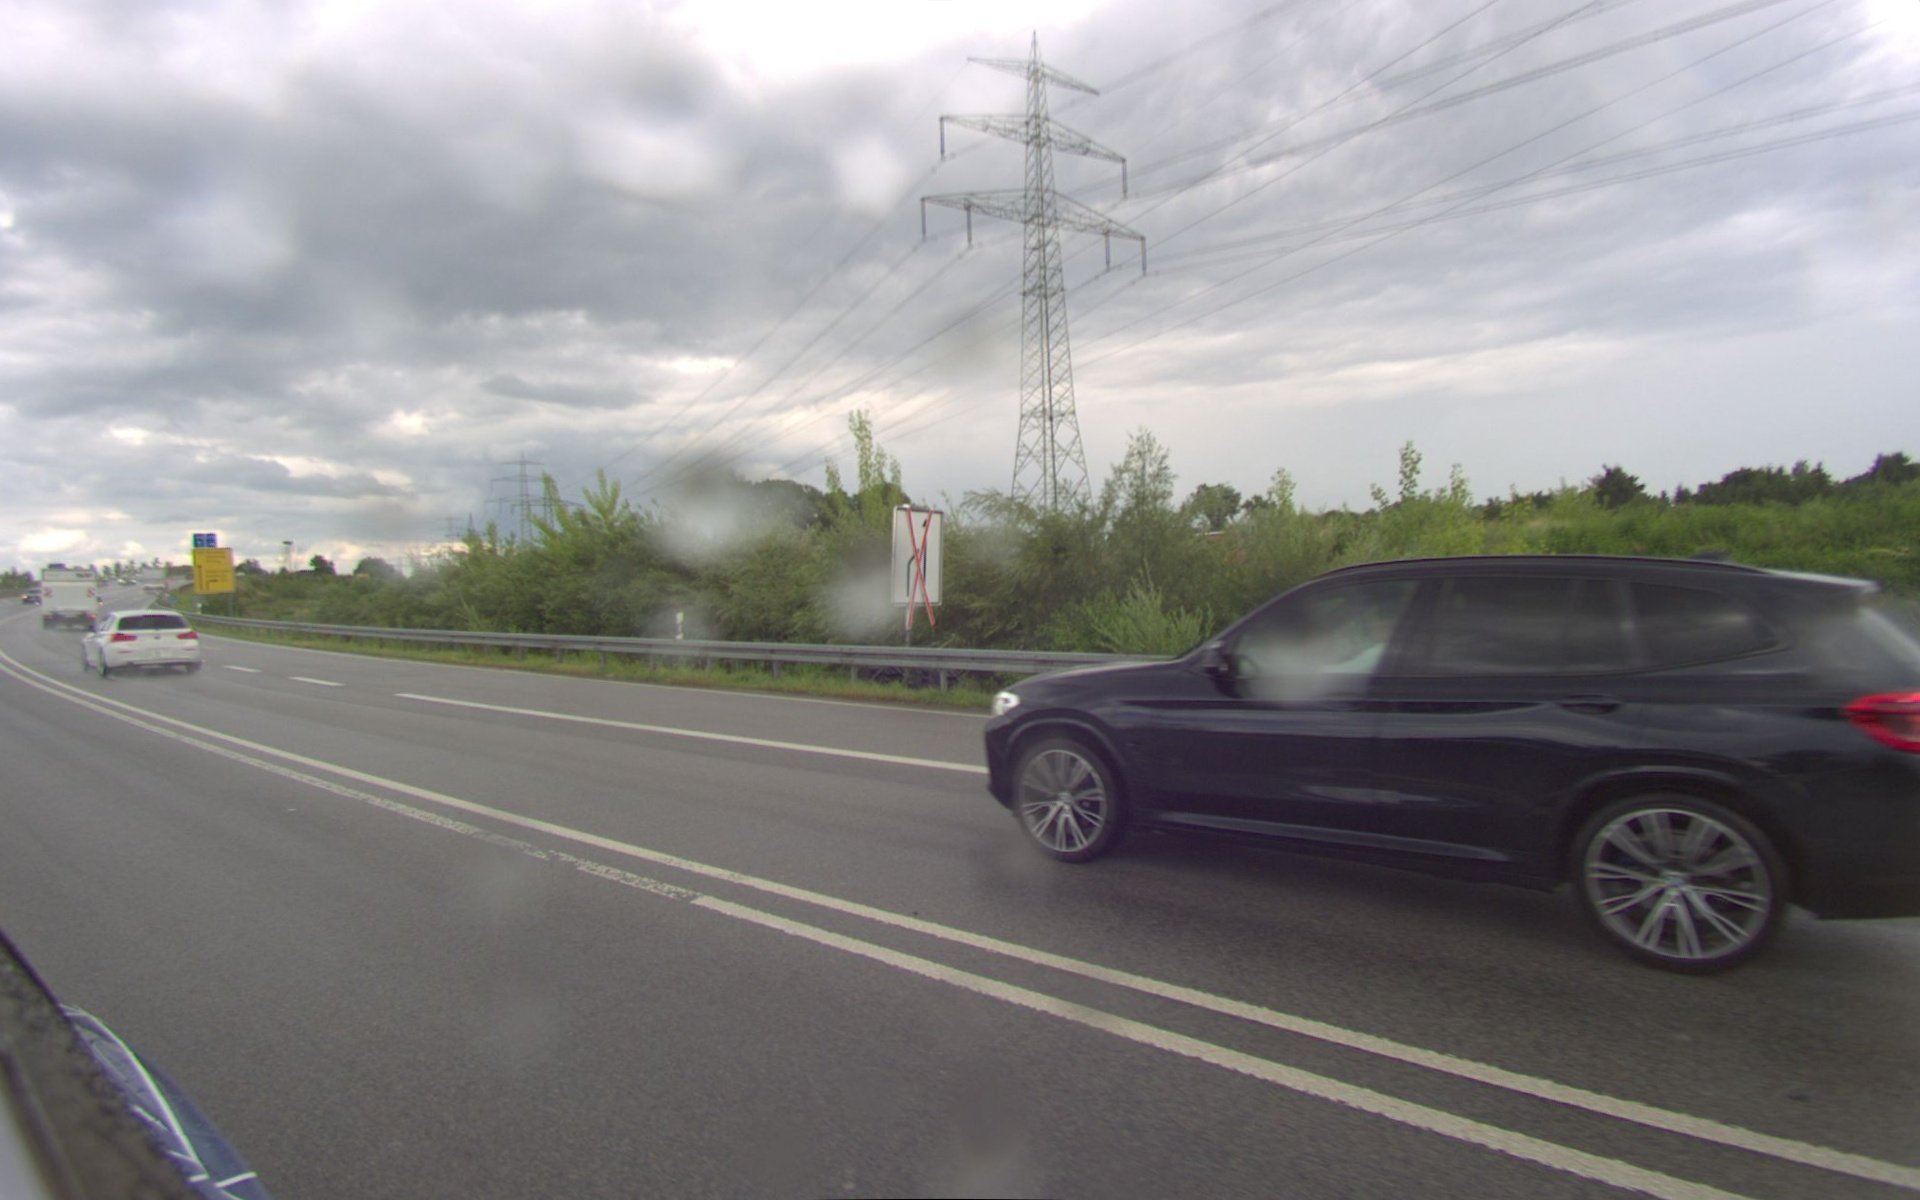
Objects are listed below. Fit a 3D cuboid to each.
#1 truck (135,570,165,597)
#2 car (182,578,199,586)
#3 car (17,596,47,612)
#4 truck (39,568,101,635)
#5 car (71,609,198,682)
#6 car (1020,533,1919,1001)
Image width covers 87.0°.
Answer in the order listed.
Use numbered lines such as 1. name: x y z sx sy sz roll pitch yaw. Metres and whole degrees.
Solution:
1. truck: -101.496 -2.011 126.861 2.447 3.317 7.299 1 0 -35
2. car: -151.132 -3.523 198.736 1.870 1.451 4.916 -4 3 -29
3. car: -90.962 0.403 99.197 1.721 1.508 4.059 -2 1 -37
4. truck: -45.433 0.071 51.595 2.229 3.180 6.697 1 -1 -42
5. car: -18.980 0.979 23.221 4.074 1.468 1.662 0 0 42
6. car: 2.552 0.572 5.132 4.254 1.586 1.782 0 -1 38
